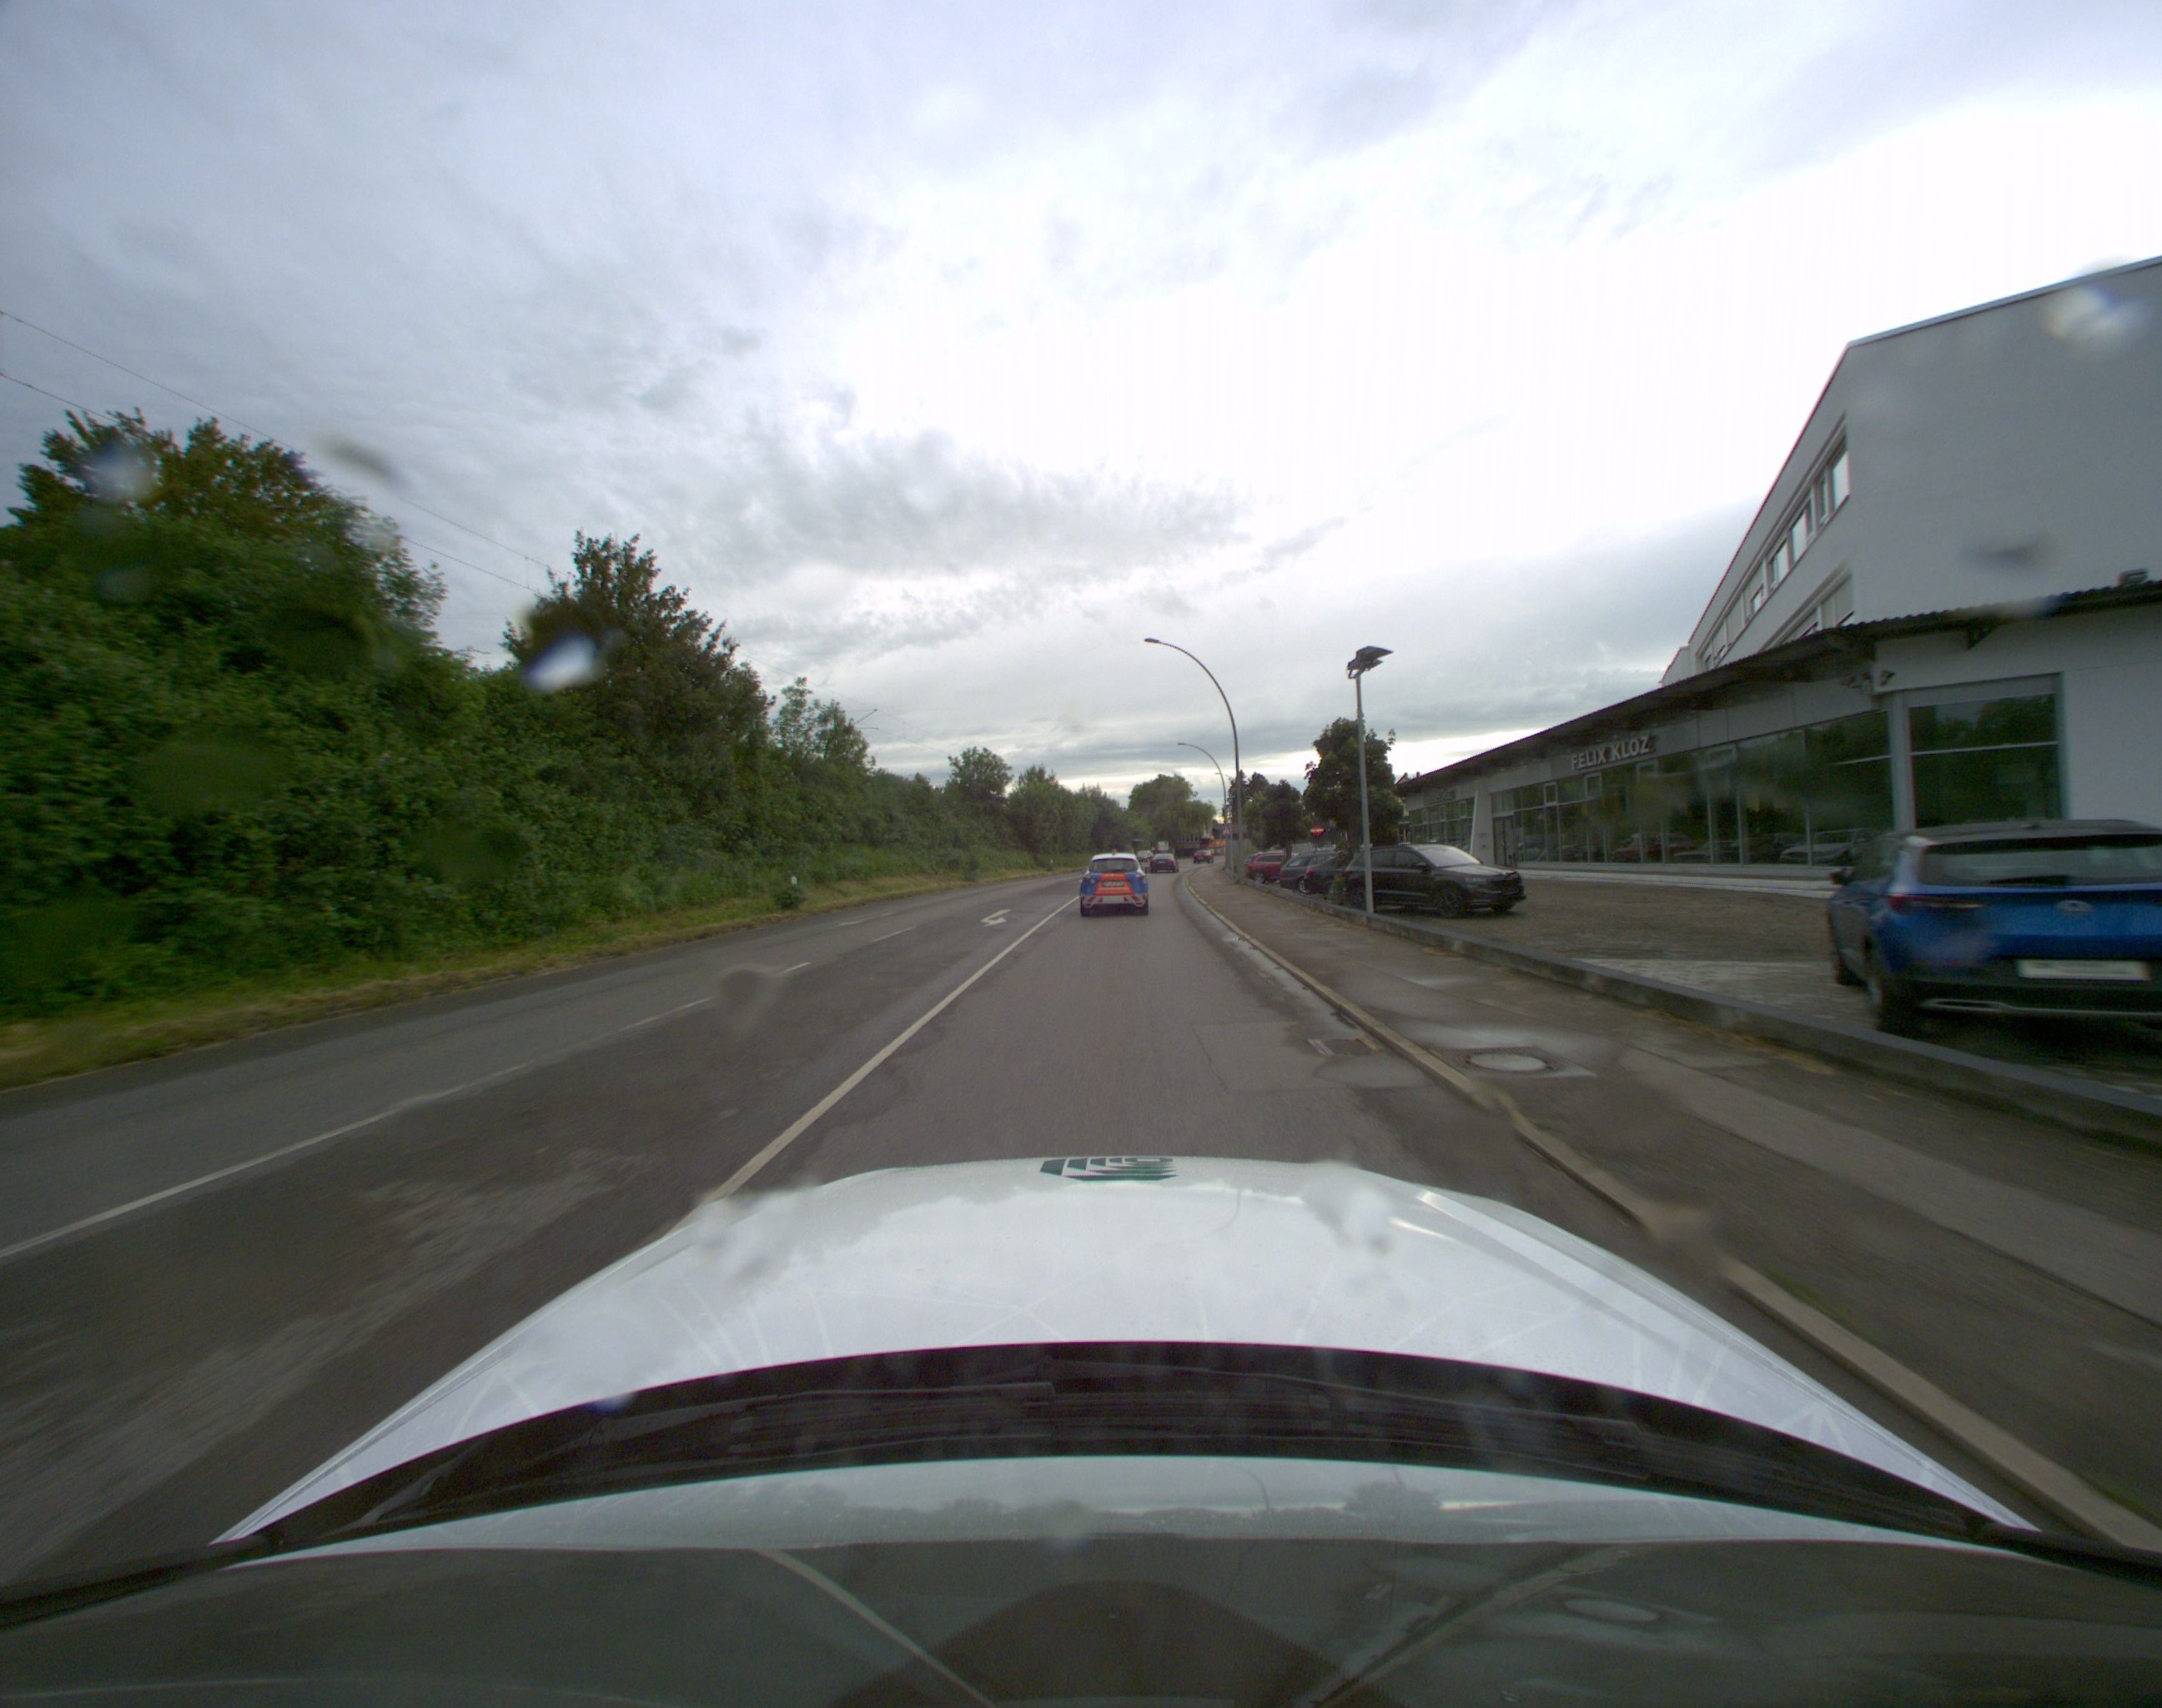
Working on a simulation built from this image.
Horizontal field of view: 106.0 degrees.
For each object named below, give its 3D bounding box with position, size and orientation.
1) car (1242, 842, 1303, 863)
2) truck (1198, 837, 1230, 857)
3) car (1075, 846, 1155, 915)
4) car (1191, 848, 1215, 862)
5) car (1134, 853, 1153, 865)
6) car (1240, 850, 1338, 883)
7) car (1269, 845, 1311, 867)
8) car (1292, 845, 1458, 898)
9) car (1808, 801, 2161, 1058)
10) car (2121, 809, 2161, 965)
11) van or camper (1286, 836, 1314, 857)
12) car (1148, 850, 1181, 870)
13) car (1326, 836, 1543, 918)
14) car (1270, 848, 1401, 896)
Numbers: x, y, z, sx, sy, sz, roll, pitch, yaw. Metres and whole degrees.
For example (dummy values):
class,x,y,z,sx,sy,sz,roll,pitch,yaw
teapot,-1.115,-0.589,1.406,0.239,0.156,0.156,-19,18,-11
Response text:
class,x,y,z,sx,sy,sz,roll,pitch,yaw
car,13.443,-0.090,57.439,4.083,1.370,2.005,1,-1,9
truck,24.651,-1.255,150.679,2.672,3.412,9.128,0,-1,31
car,0.853,0.638,21.809,1.882,1.632,4.000,-2,0,1
car,13.510,0.107,89.746,1.978,1.420,4.018,1,-1,17
car,7.906,0.662,102.970,1.981,1.474,4.713,1,-1,10
car,11.086,0.633,43.527,4.637,1.662,2.012,0,-1,35
car,21.250,0.198,82.838,3.954,2.013,1.720,-2,0,19
car,8.993,0.538,25.055,4.385,1.479,1.947,-1,0,37
car,7.870,0.466,7.202,1.819,1.632,4.394,-4,-2,39
car,10.971,0.325,6.685,1.709,1.599,4.206,-3,-1,34
van or camper,28.360,-1.008,105.164,2.022,2.593,6.629,-2,0,27
car,6.023,0.456,58.417,1.708,1.376,3.949,1,-1,15
car,8.021,0.475,18.984,1.845,1.608,4.512,-3,1,-25
car,8.890,0.595,28.634,3.949,1.556,1.910,0,-1,42
